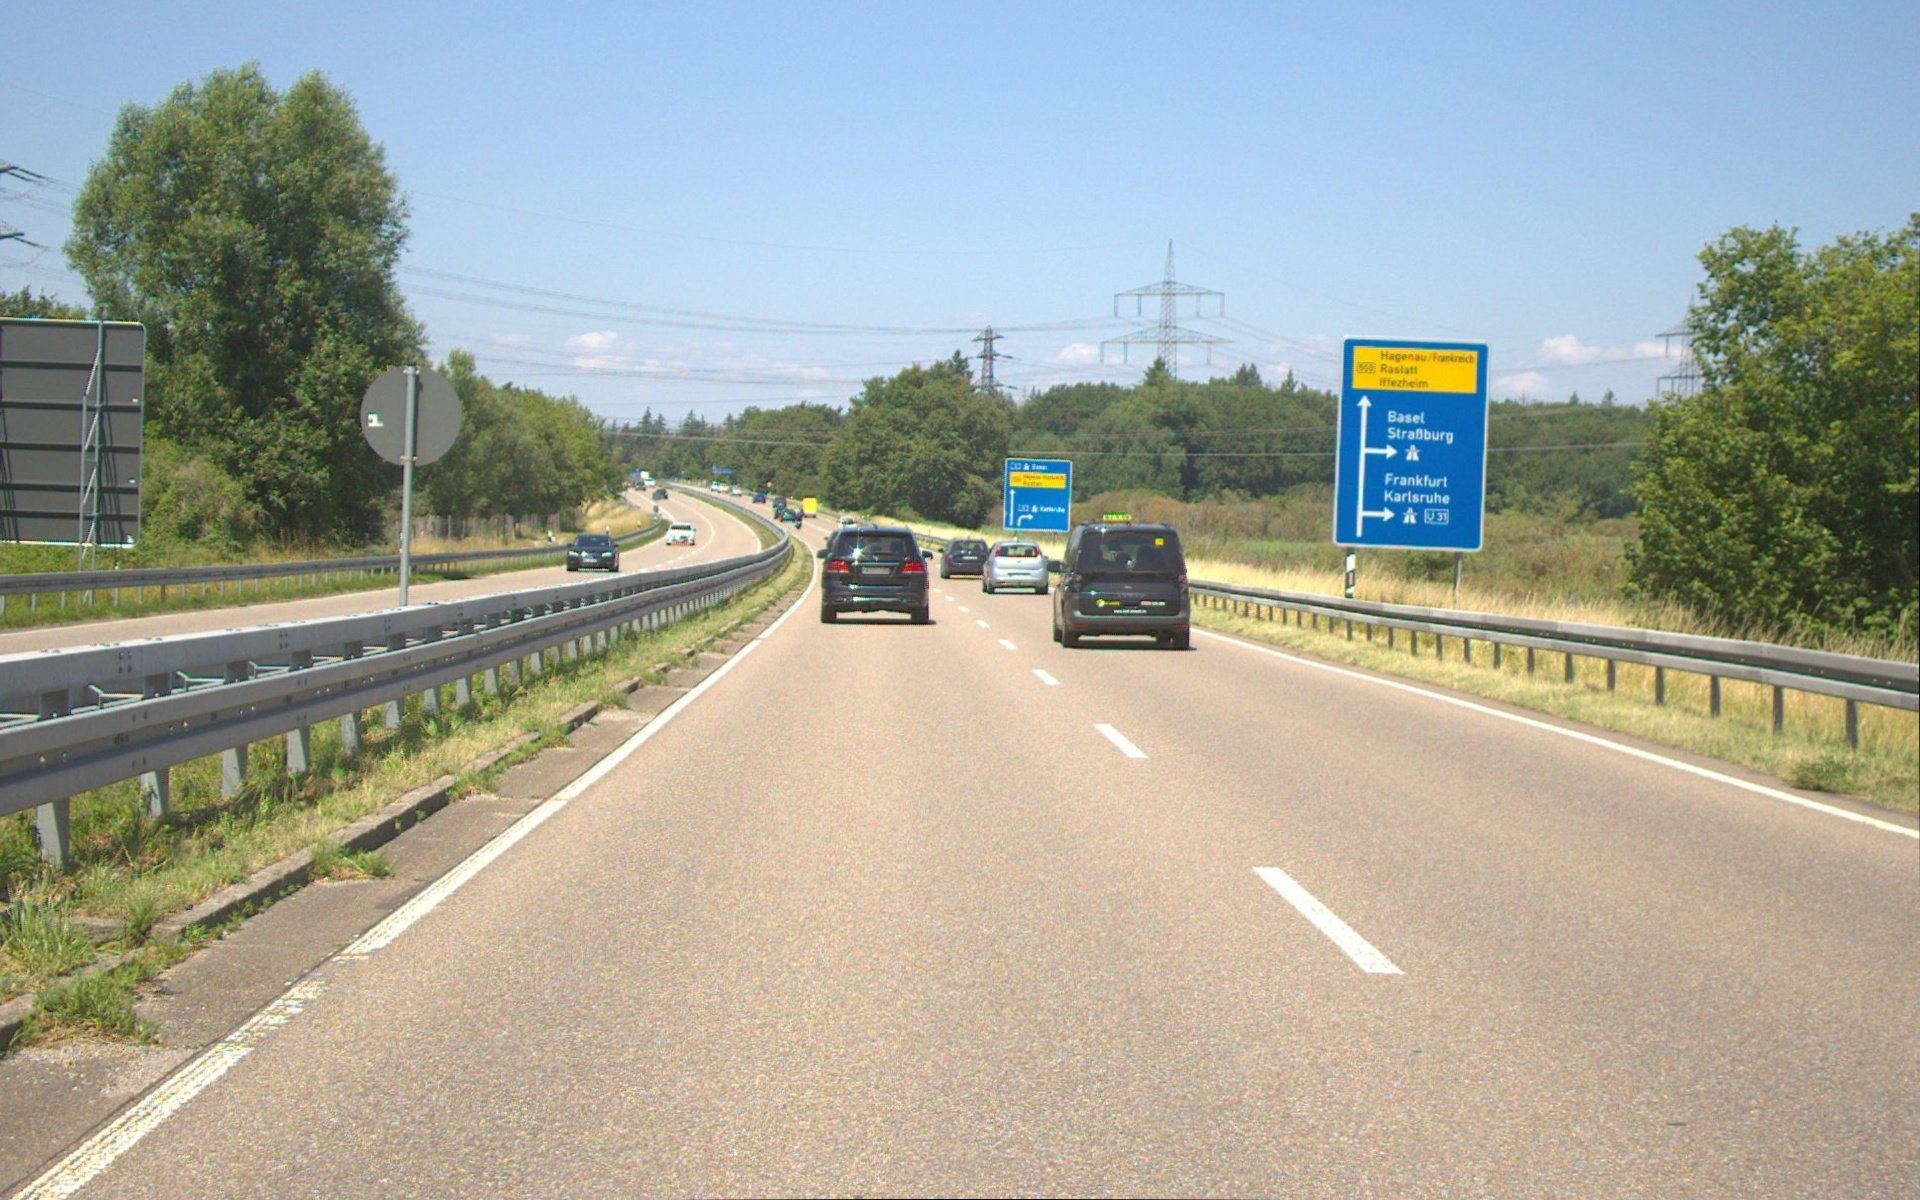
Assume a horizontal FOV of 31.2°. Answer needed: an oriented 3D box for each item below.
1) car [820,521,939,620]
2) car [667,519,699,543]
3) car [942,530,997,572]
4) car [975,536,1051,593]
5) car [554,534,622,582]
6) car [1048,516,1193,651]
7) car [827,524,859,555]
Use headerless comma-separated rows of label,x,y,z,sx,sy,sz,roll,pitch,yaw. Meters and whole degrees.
car,-1.490,-0.551,61.999,1.993,1.649,4.001,3,1,-3
car,-18.133,-4.520,225.265,1.827,1.492,4.103,2,1,-2
car,0.318,-1.746,121.342,1.819,1.409,4.001,1,1,-1
car,1.449,-0.996,95.242,1.779,1.474,4.316,3,1,-3
car,-13.944,-1.596,129.021,1.993,1.631,4.874,4,1,-1
car,2.303,-0.262,50.242,1.780,1.810,4.213,3,1,-1
car,-6.120,-3.168,179.751,1.514,1.470,3.066,4,1,-3
